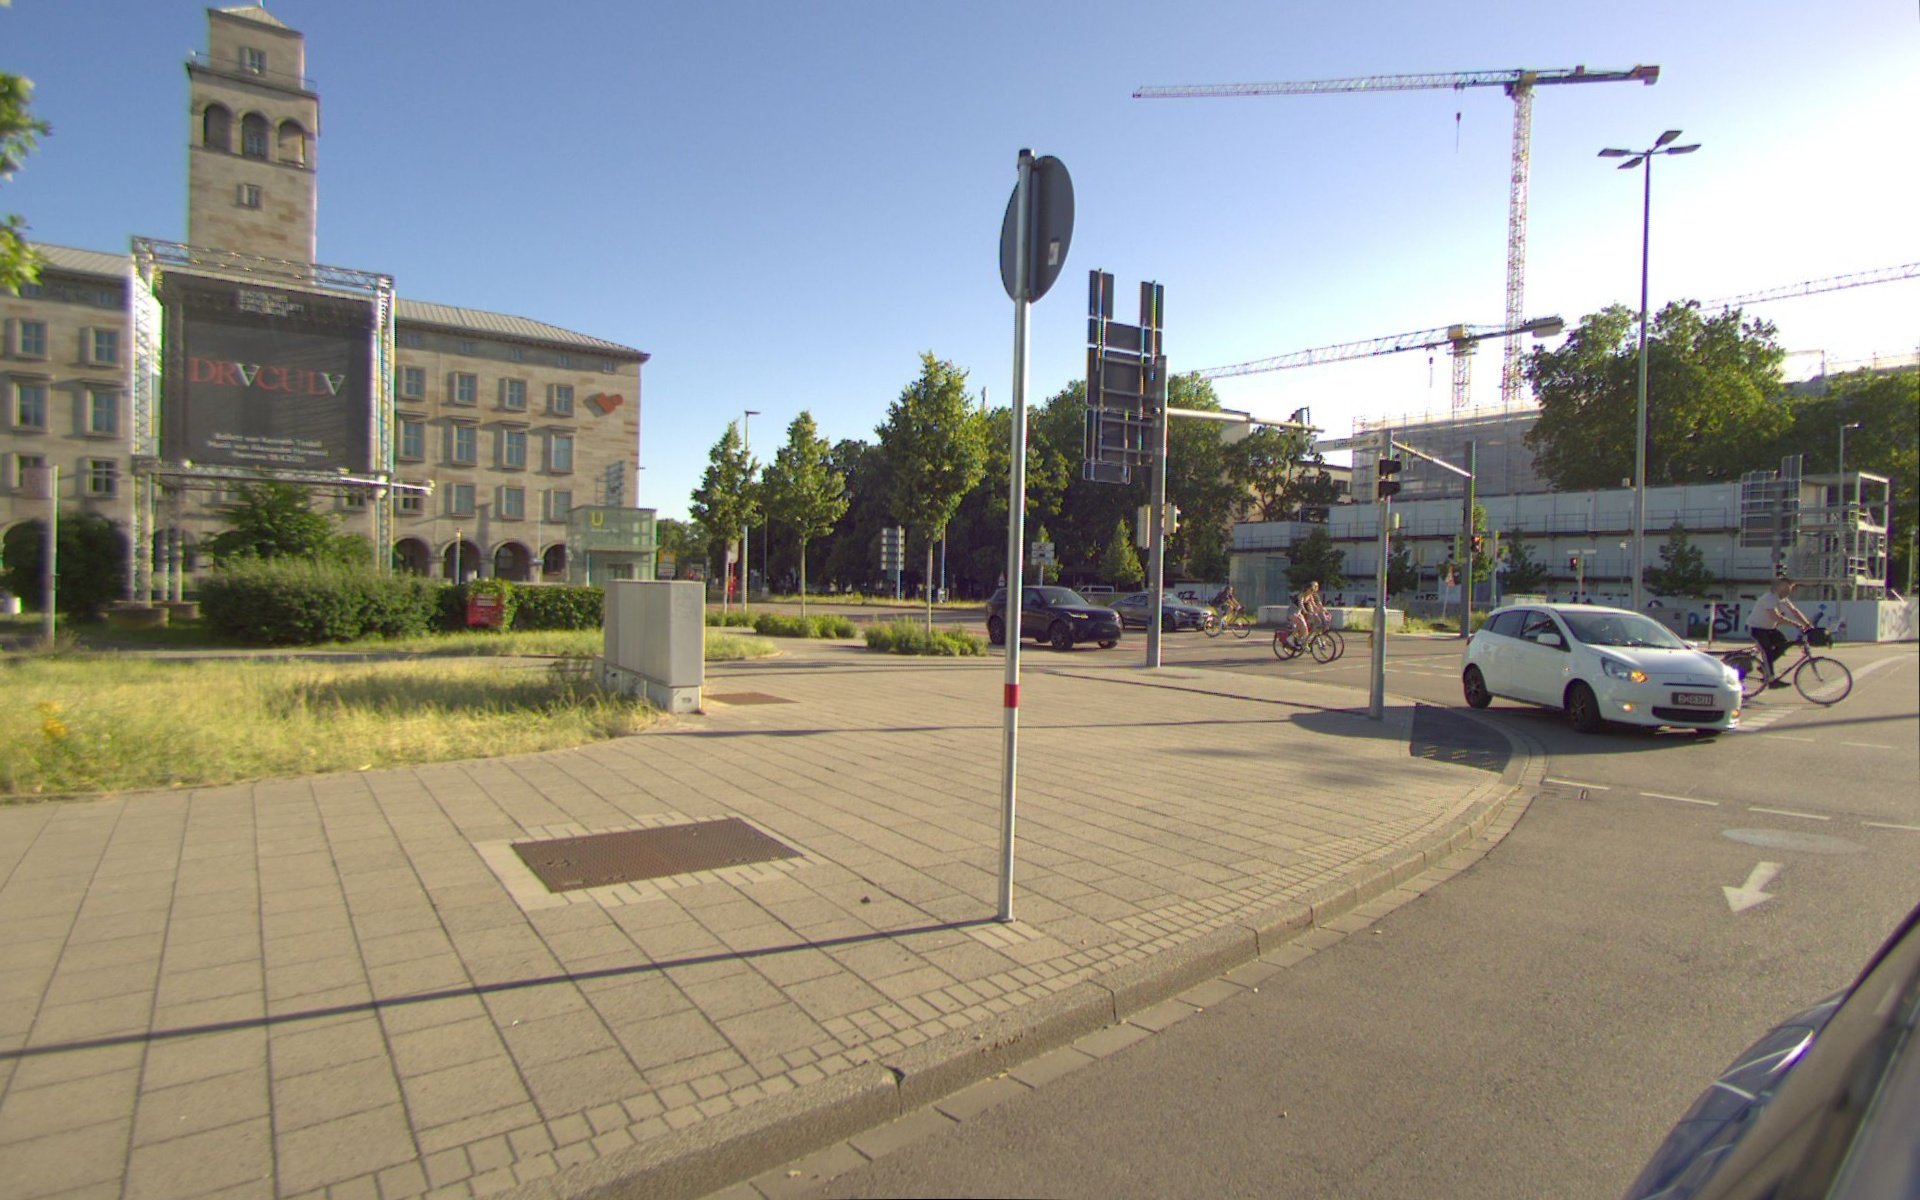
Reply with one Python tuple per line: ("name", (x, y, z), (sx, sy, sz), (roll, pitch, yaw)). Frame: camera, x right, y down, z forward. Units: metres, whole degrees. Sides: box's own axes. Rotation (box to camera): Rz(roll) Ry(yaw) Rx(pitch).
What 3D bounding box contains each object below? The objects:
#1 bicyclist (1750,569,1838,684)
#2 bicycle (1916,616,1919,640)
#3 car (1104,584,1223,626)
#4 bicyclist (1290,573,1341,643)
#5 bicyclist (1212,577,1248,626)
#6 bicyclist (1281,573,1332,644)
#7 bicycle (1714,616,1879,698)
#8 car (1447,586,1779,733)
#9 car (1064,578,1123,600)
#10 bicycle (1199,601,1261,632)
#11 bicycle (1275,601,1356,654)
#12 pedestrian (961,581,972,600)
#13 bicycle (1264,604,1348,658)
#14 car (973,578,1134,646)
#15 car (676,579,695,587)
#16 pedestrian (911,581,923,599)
("bicyclist", (12.736, 0.387, 15.461), (0.687, 1.690, 0.788), (1, 1, -26))
("bicycle", (38.845, 1.119, 39.542), (0.788, 0.939, 2.081), (0, 0, -15))
("car", (7.353, 0.138, 36.995), (1.741, 1.368, 4.532), (0, 2, -30))
("bicyclist", (8.274, 0.171, 23.555), (0.613, 1.594, 0.896), (1, 1, -30))
("bicyclist", (8.590, 0.035, 32.210), (0.614, 1.522, 0.936), (0, 1, -41))
("bicyclist", (7.814, 0.180, 22.829), (0.639, 1.562, 0.848), (1, 1, -31))
("bicycle", (12.736, 0.836, 15.468), (0.694, 1.108, 1.803), (1, 1, -26))
("car", (8.041, 0.620, 12.968), (1.629, 1.489, 3.971), (0, 2, -1))
("car", (12.366, -1.016, 93.641), (5.220, 1.915, 2.003), (1, 0, -26))
("bicycle", (8.579, 0.512, 32.220), (0.614, 0.920, 1.908), (-1, 2, -41))
("bicycle", (8.253, 0.623, 23.563), (0.613, 1.130, 1.818), (1, 1, -30))
("pedestrian", (0.599, -0.911, 93.338), (0.651, 1.748, 0.698), (1, 1, -31))
("bicycle", (7.796, 0.673, 22.858), (0.639, 1.108, 1.802), (1, 1, -31))
("car", (2.489, 0.259, 28.268), (1.960, 1.683, 4.796), (1, 1, -32))
("car", (-38.920, -2.390, 143.703), (1.588, 1.147, 3.774), (0, 2, -32))
("pedestrian", (-4.399, -1.079, 103.490), (0.978, 1.805, 0.965), (-1, 2, -31))
